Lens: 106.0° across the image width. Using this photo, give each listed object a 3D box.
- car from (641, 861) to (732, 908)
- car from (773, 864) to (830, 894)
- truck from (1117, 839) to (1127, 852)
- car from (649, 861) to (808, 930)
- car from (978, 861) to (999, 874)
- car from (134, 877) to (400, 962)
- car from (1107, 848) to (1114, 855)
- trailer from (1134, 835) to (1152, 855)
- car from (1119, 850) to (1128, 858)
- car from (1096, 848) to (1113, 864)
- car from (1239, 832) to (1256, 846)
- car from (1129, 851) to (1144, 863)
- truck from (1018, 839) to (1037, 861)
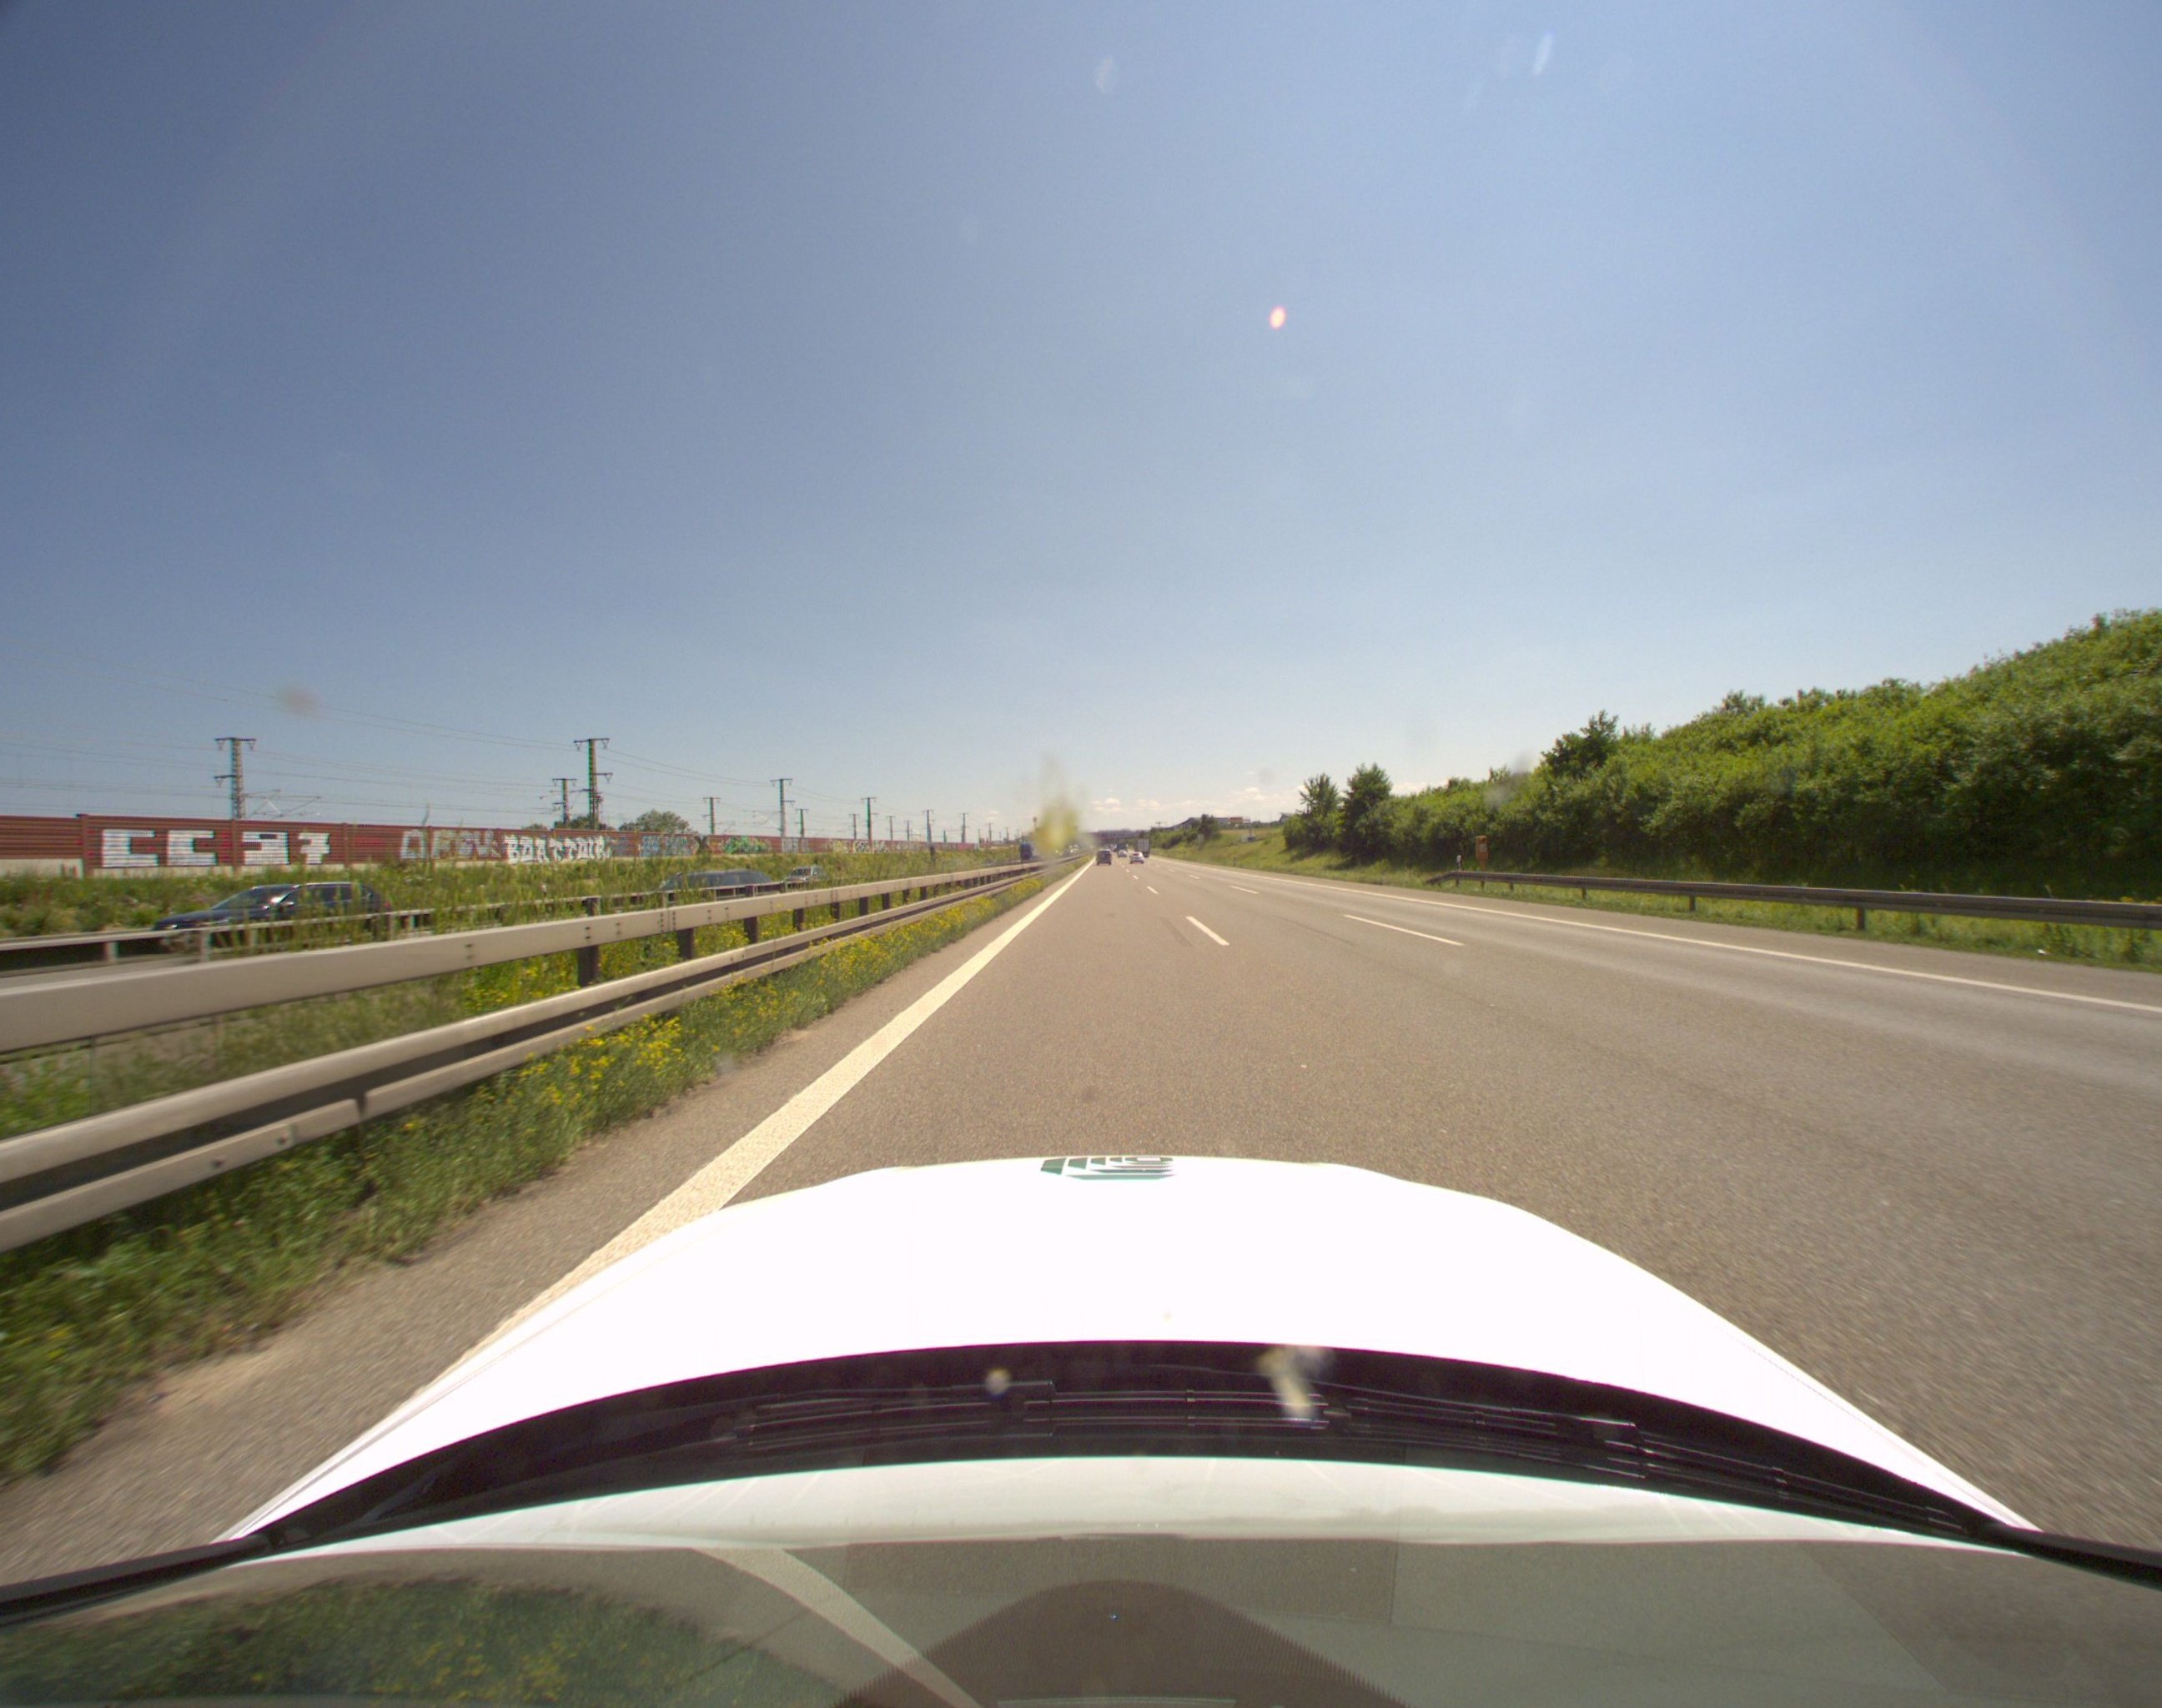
[{"bbox_3d":[-18.101,1.359,37.624,1.986,2.014,4.311,0,-1,2],"label":"car"},{"bbox_3d":[-18.172,1.587,53.152,1.986,1.726,4.515,-1,0,2],"label":"car"},{"bbox_3d":[10.808,-2.185,215.546,2.346,3.416,6.060,-1,1,2],"label":"truck"},{"bbox_3d":[-8.330,0.921,19.735,1.860,1.395,4.272,-1,0,2],"label":"car"},{"bbox_3d":[-11.531,1.677,101.361,1.986,1.487,3.933,-3,0,2],"label":"car"},{"bbox_3d":[-19.999,1.519,20.364,1.986,1.726,4.516,-1,0,2],"label":"car"},{"bbox_3d":[9.105,-0.832,252.359,1.986,2.013,4.001,-1,0,1],"label":"car"},{"bbox_3d":[12.918,-1.859,169.635,3.165,4.059,9.444,-2,1,2],"label":"trailer"},{"bbox_3d":[9.024,0.045,172.463,1.873,1.526,4.003,-1,0,3],"label":"car"},{"bbox_3d":[2.862,0.268,98.199,1.874,1.775,4.002,-2,0,2],"label":"car"},{"bbox_3d":[32.016,-2.870,156.633,2.267,2.527,5.400,-1,1,1],"label":"car"},{"bbox_3d":[7.220,0.389,105.776,1.872,1.526,4.005,-1,0,4],"label":"car"},{"bbox_3d":[-11.049,-0.852,169.019,2.877,4.407,7.506,-2,0,2],"label":"truck"}]
